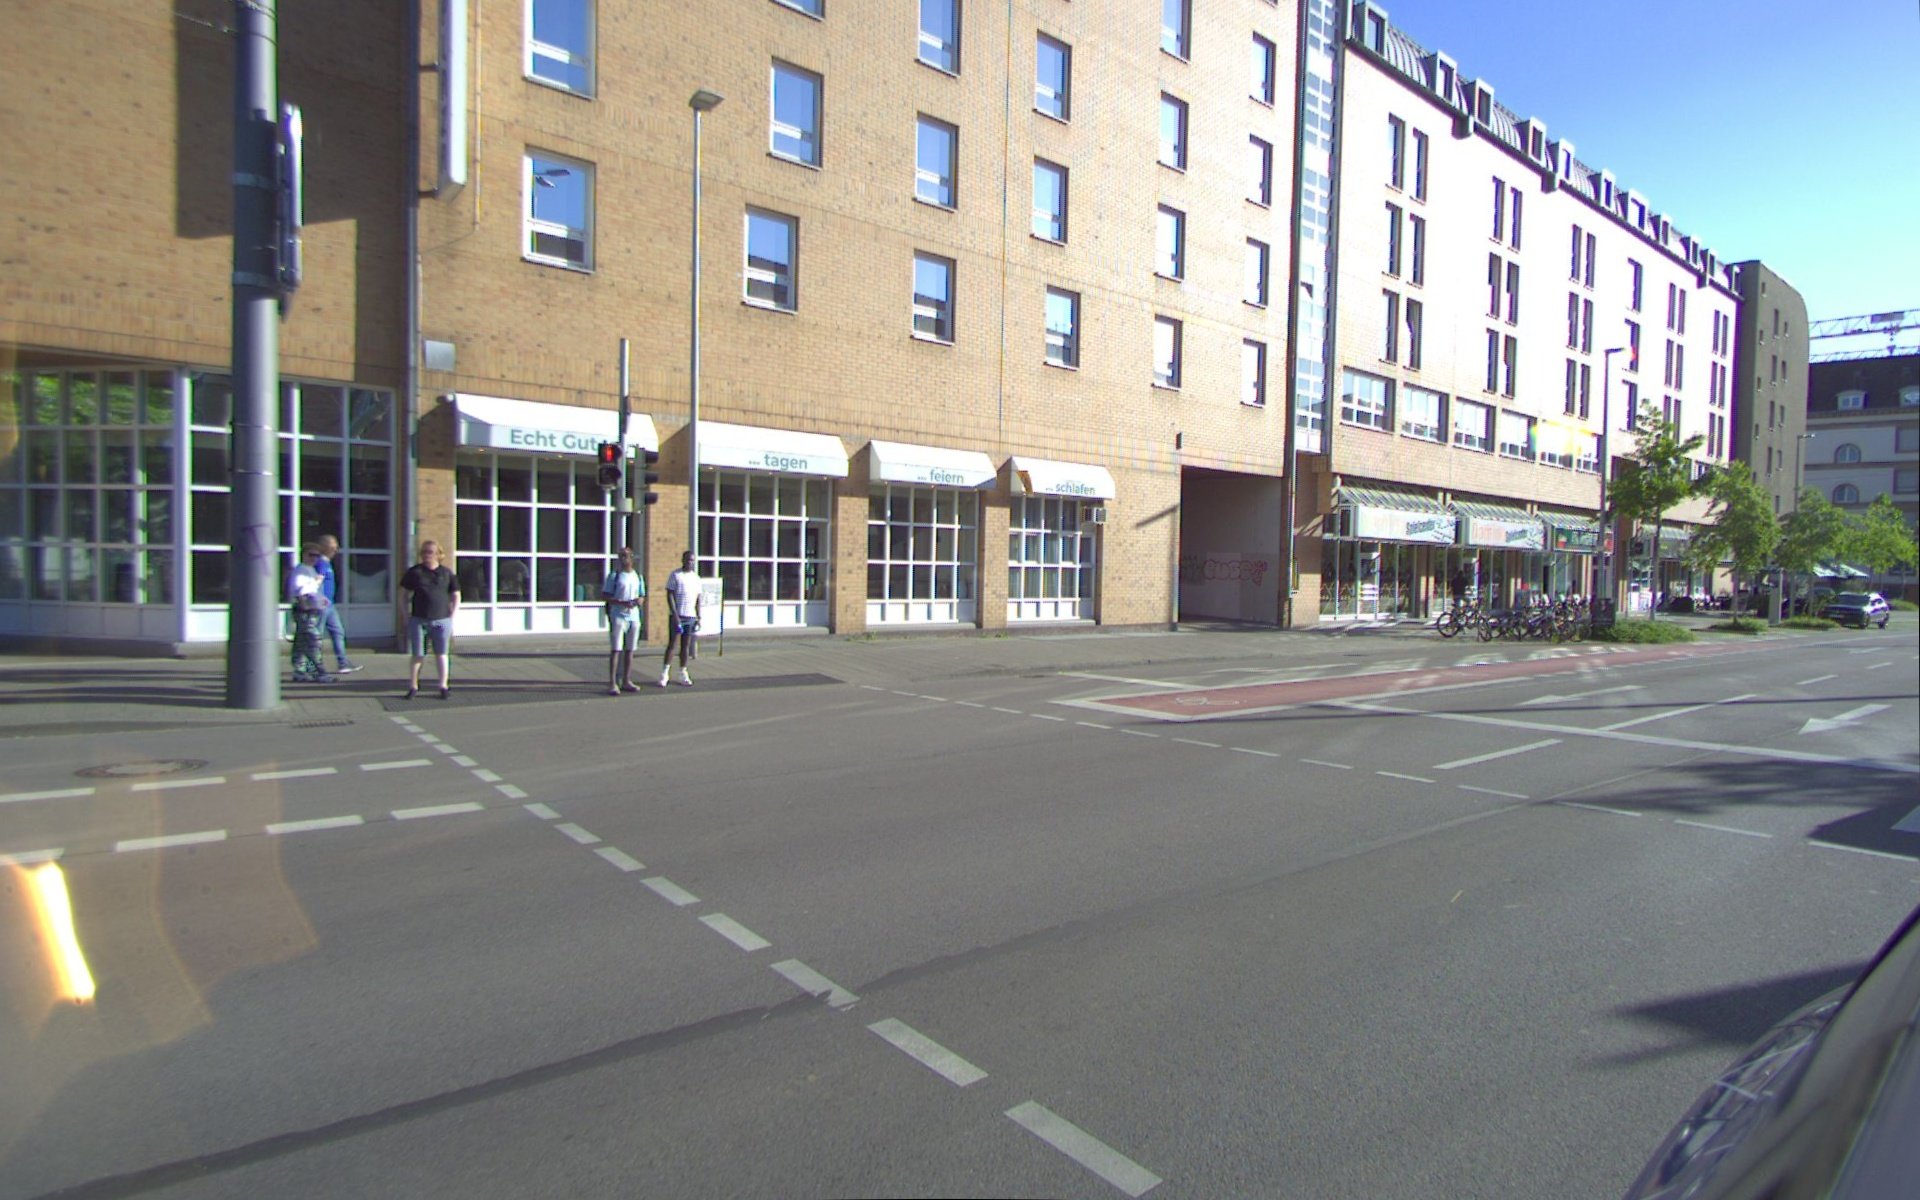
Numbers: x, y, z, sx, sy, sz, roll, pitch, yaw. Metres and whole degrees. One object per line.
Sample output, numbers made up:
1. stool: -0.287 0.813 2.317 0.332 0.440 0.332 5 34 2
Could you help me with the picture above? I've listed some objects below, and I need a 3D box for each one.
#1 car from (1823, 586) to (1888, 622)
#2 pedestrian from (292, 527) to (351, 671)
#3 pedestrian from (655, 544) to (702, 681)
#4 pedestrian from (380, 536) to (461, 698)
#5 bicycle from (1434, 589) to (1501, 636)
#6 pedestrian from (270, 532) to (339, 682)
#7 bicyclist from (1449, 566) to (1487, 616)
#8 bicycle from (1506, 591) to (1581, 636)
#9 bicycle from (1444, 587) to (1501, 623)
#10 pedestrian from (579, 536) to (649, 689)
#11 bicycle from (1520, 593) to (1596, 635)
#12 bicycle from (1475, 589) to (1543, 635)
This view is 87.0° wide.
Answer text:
1. car: 41.315 0.145 46.670 3.626 1.549 1.655 -1 2 -39
2. pedestrian: -8.017 -0.017 12.710 0.591 1.748 0.604 -1 1 -35
3. pedestrian: -3.760 0.158 13.492 0.567 1.795 0.406 1 3 -17
4. pedestrian: -6.172 0.182 11.573 0.682 1.790 0.573 1 1 -40
5. bicycle: 14.213 0.334 28.373 0.541 1.162 1.781 0 4 -18
6. pedestrian: -7.831 0.068 12.089 0.646 1.725 0.563 -1 1 -37
7. bicyclist: 16.132 -0.286 32.151 0.833 1.533 0.582 2 5 -31
8. bicycle: 16.832 0.365 29.242 0.543 1.155 1.776 -2 4 -36
9. bicycle: 16.355 0.167 32.298 1.843 1.062 0.604 1 6 -29
10. pedestrian: -4.353 0.135 12.763 0.491 1.855 0.729 3 3 16
11. bicycle: 17.731 0.387 30.053 0.723 1.084 1.776 -2 4 -36
12. bicycle: 15.592 0.324 28.804 0.541 1.162 1.781 0 4 -18
